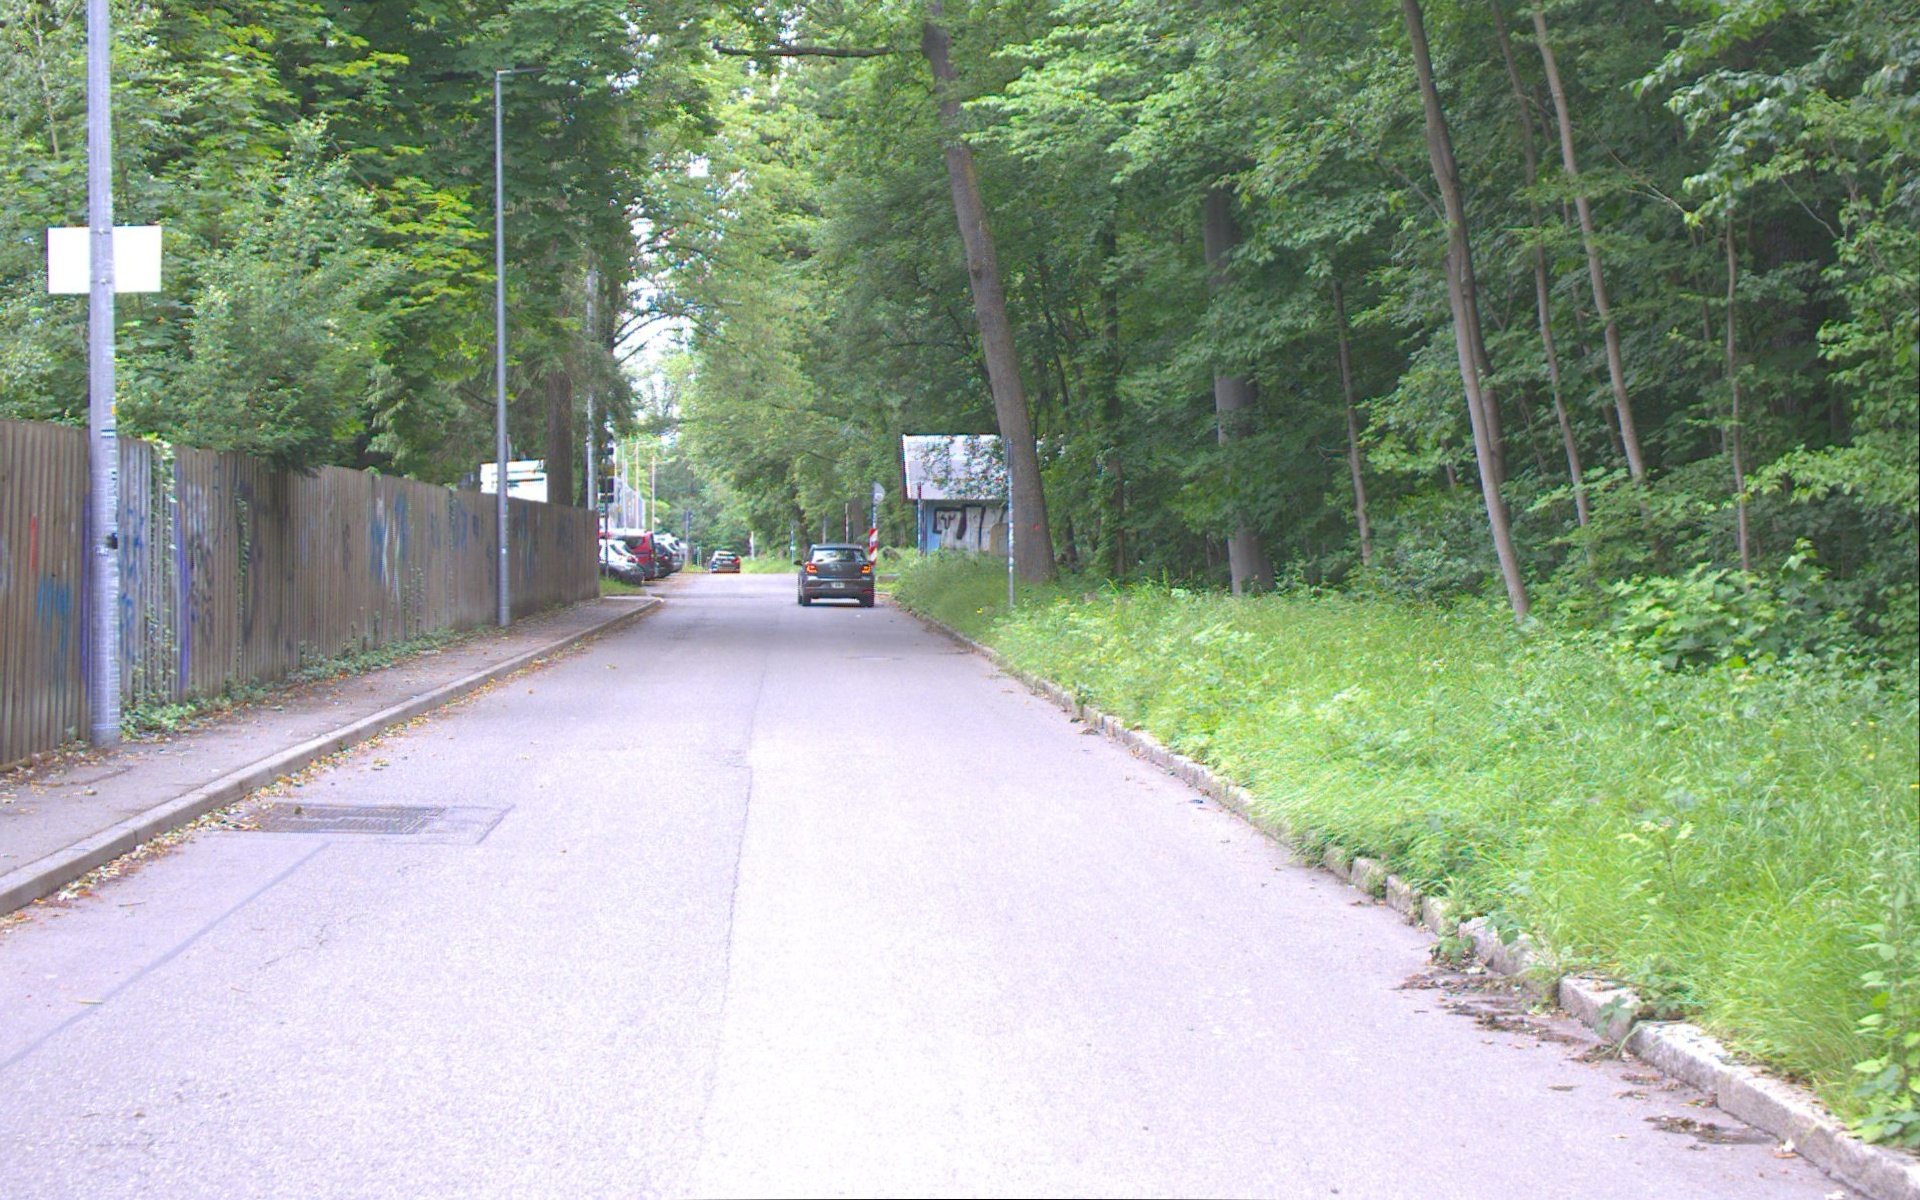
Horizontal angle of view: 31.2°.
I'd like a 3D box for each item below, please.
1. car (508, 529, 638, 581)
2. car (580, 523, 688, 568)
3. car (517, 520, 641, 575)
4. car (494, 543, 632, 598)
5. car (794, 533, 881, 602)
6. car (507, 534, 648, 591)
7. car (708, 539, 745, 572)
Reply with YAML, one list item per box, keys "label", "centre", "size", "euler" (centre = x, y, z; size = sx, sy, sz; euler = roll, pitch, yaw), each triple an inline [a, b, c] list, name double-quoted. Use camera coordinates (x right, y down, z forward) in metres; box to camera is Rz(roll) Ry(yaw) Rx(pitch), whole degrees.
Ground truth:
- label: "car"
  centre: [-12.103, -1.419, 107.580]
  size: [3.986, 1.568, 2.000]
  euler: [-1, 1, -6]
- label: "car"
  centre: [-12.427, -2.075, 131.365]
  size: [3.986, 1.590, 1.765]
  euler: [-2, 0, -3]
- label: "car"
  centre: [-12.485, -1.719, 112.618]
  size: [3.986, 1.744, 2.000]
  euler: [0, 1, -6]
- label: "car"
  centre: [-11.766, -0.895, 101.964]
  size: [3.986, 1.568, 2.000]
  euler: [-1, 1, -6]
- label: "car"
  centre: [-2.856, -0.756, 80.182]
  size: [1.907, 1.503, 4.000]
  euler: [2, 0, -2]
- label: "car"
  centre: [-11.075, -1.099, 99.661]
  size: [3.986, 1.568, 2.000]
  euler: [-1, 1, -6]
- label: "car"
  centre: [-14.731, -2.791, 216.655]
  size: [1.993, 2.007, 4.001]
  euler: [-1, 1, -8]
